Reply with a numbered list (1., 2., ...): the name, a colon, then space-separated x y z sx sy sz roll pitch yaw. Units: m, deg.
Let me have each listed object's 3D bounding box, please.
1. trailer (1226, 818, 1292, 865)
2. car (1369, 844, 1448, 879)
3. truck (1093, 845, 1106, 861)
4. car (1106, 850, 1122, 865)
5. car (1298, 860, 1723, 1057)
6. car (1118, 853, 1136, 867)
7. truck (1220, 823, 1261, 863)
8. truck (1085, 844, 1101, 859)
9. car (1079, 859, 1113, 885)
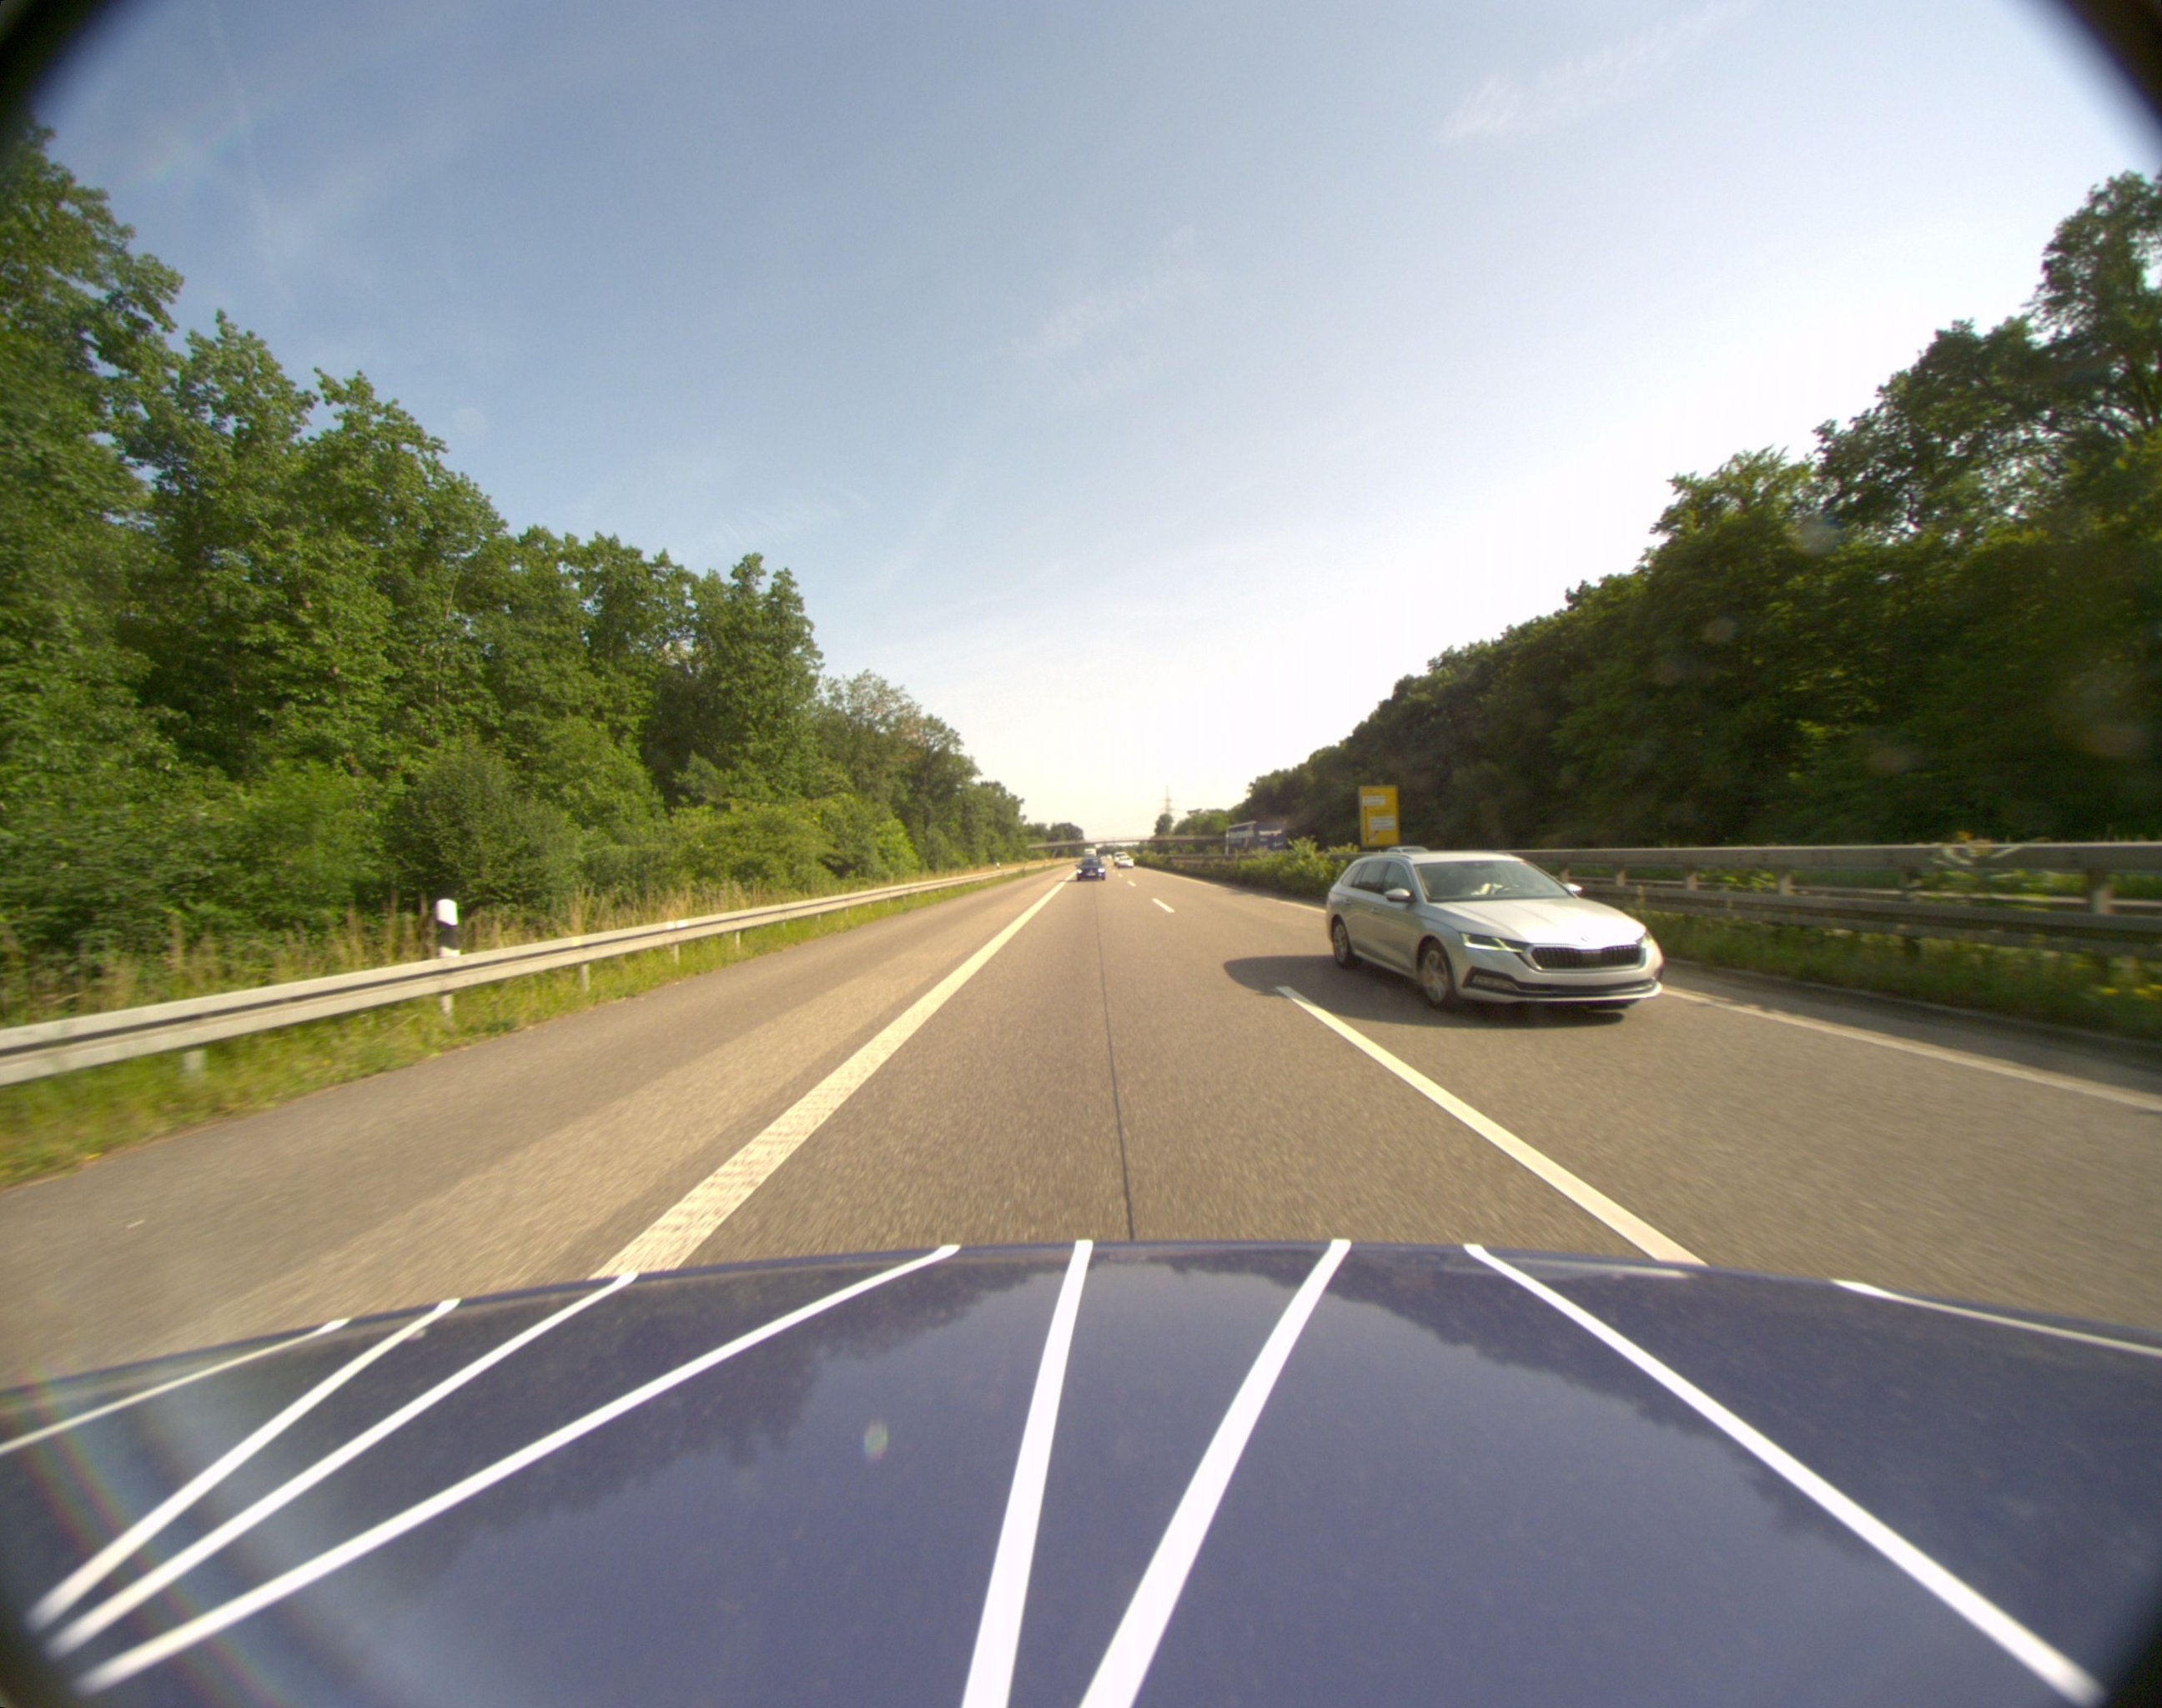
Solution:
1. trailer: 16.620 -1.073 72.284 2.973 4.046 14.316 -1 0 0
2. car: 15.825 0.342 36.977 1.755 1.457 4.811 -4 0 1
3. truck: 5.085 -0.357 209.234 2.695 4.061 12.362 -2 0 -2
4. car: 4.664 0.484 108.362 1.913 1.934 4.705 -2 0 -3
5. car: 4.049 0.828 8.475 1.797 1.430 5.278 -1 0 1
6. car: 5.411 0.670 89.665 1.754 1.477 5.263 -2 0 1
7. truck: 16.686 -1.093 79.826 2.973 4.046 6.564 -1 0 0
8. truck: 2.389 -0.518 157.356 2.695 3.020 10.370 -2 0 -1
9. car: 0.828 0.972 42.861 1.789 1.285 3.538 -2 0 0
